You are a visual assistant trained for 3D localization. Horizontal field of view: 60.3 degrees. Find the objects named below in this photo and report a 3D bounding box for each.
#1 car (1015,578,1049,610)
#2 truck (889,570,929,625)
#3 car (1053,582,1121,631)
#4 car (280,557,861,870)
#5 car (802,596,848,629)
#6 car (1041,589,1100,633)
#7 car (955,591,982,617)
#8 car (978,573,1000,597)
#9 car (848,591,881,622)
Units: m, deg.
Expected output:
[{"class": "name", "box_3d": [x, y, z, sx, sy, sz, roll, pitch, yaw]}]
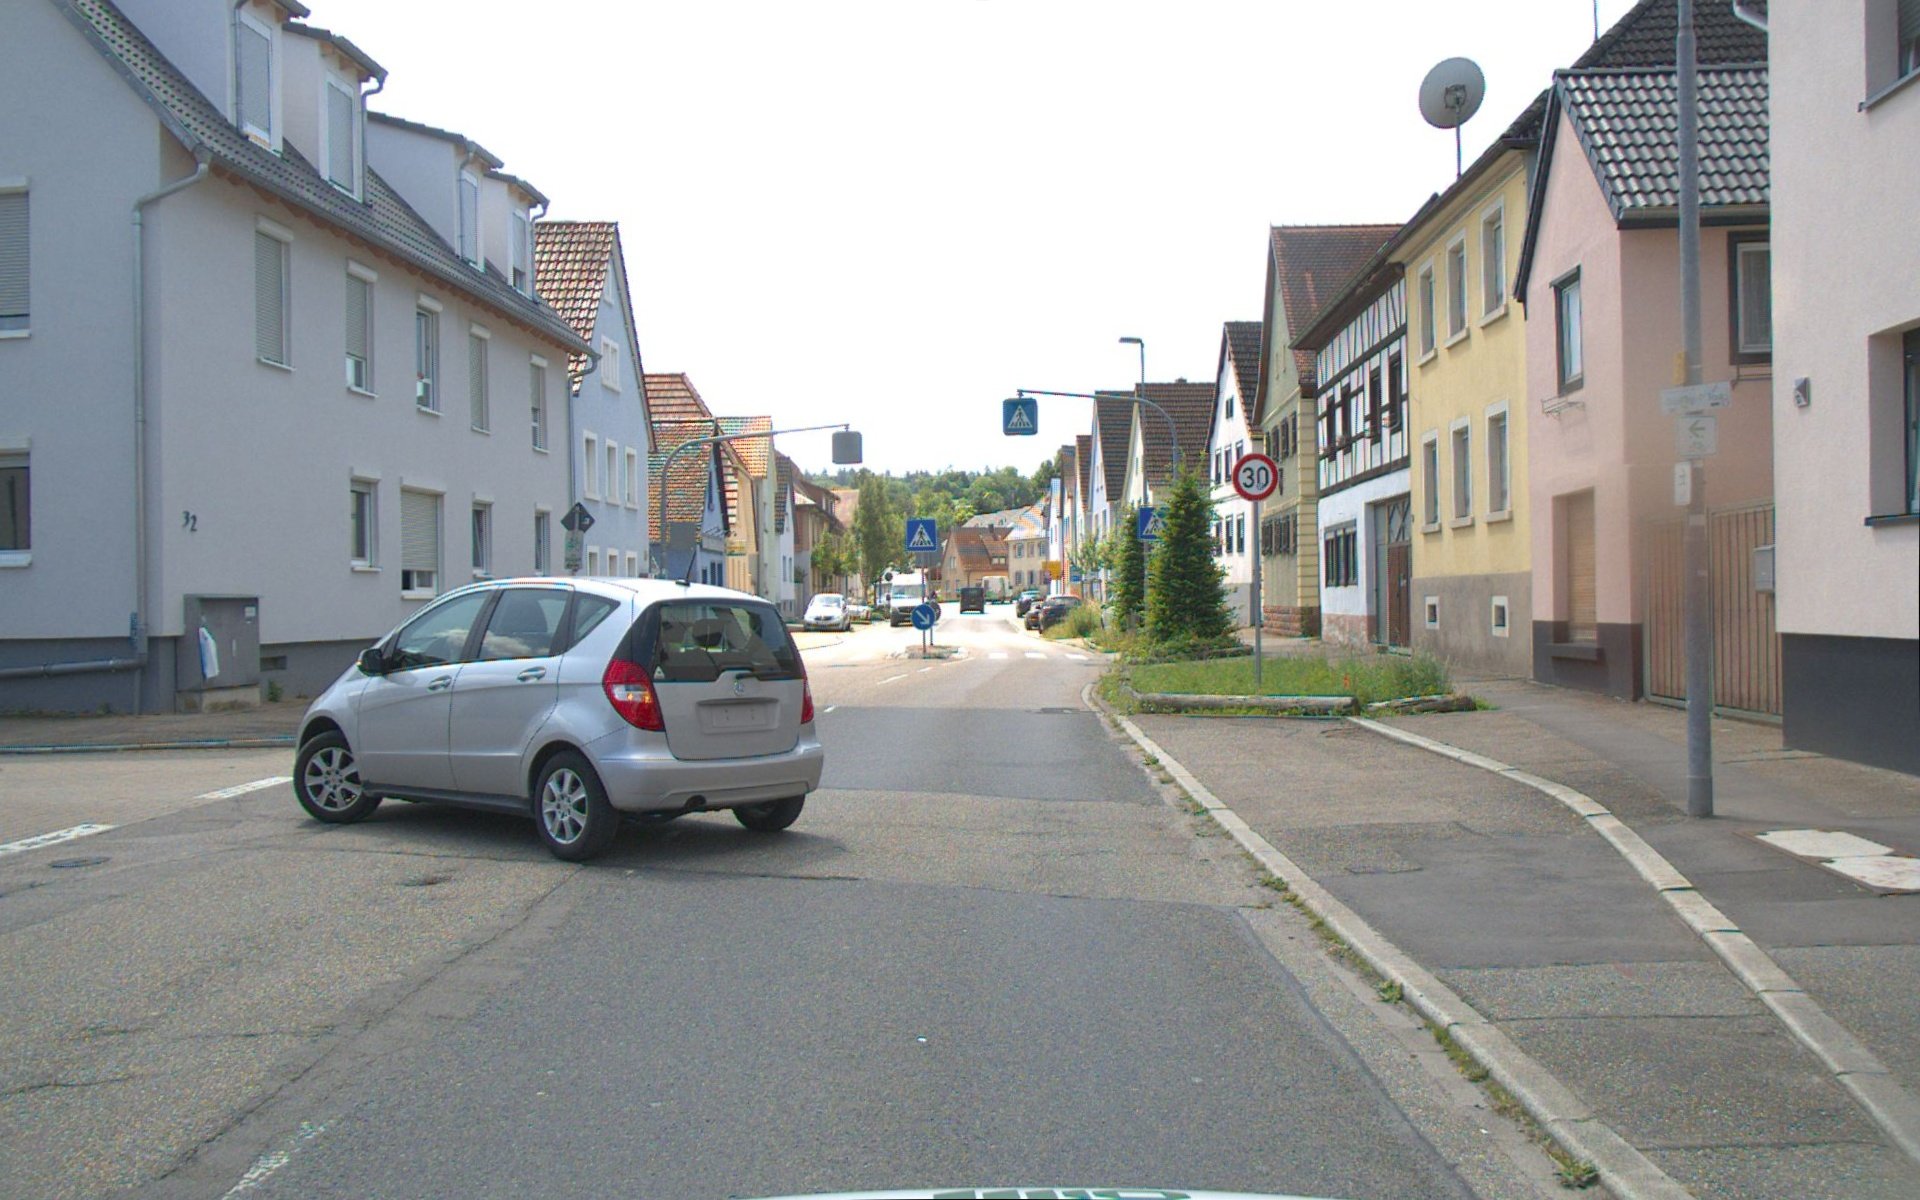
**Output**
[{"class": "car", "box_3d": [4.562, -0.366, 105.594, 1.953, 1.848, 3.998, 0, -2, -1]}, {"class": "truck", "box_3d": [-2.560, -0.083, 84.751, 1.953, 2.581, 6.737, 0, -2, -1]}, {"class": "car", "box_3d": [4.212, 0.235, 55.441, 1.953, 1.534, 3.999, 0, -2, 0]}, {"class": "car", "box_3d": [-2.605, 0.604, 10.726, 3.659, 1.672, 1.807, 1, -1, 39]}, {"class": "car", "box_3d": [-5.920, 0.559, 72.531, 1.955, 1.344, 3.704, 0, -2, -5]}, {"class": "car", "box_3d": [4.095, 0.440, 62.029, 1.953, 1.534, 3.999, 0, -2, 0]}, {"class": "car", "box_3d": [0.653, 0.289, 124.572, 1.953, 1.848, 3.998, 0, -2, -1]}, {"class": "car", "box_3d": [2.727, -1.371, 154.008, 1.953, 2.049, 3.999, 0, -2, 0]}, {"class": "car", "box_3d": [-5.351, 0.380, 92.974, 1.633, 1.624, 3.999, 0, -2, 0]}]
